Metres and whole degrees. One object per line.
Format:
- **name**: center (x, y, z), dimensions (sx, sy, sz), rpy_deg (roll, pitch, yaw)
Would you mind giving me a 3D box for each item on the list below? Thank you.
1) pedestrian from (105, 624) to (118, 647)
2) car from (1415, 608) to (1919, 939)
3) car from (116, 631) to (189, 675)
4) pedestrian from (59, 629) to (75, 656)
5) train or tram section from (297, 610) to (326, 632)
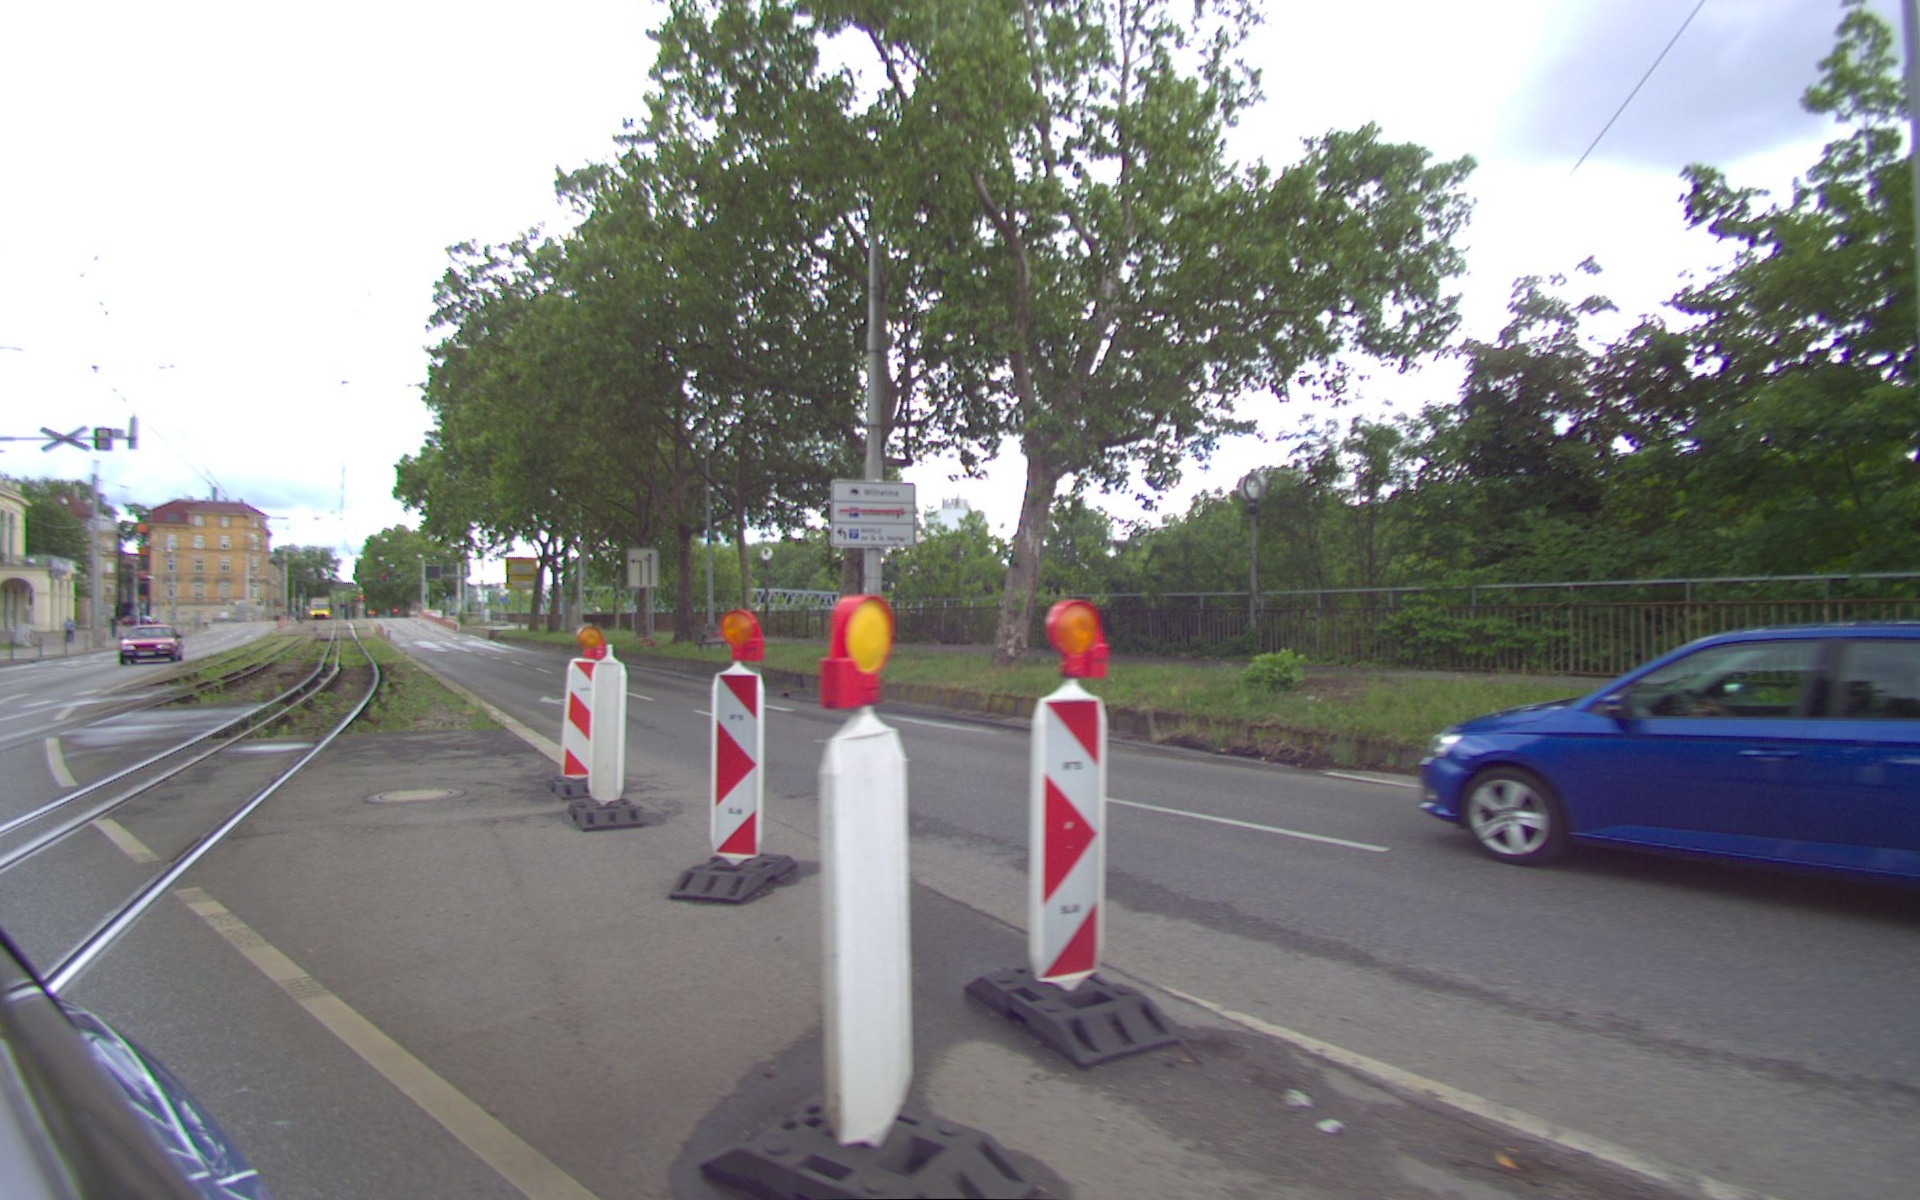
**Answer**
- **pedestrian**: center (-66.902, 2.768, 79.770), dimensions (0.661, 1.781, 0.939), rpy_deg (0, -1, -32)
- **car**: center (4.734, 0.804, 5.346), dimensions (1.672, 1.473, 3.922), rpy_deg (1, -3, -35)
- **car**: center (-30.456, 1.949, 38.262), dimensions (1.654, 1.453, 4.131), rpy_deg (-2, 0, -32)
- **pedestrian**: center (-60.446, 2.887, 68.517), dimensions (0.661, 1.781, 0.939), rpy_deg (0, -1, -32)
- **train or tram section**: center (-106.517, 3.338, 166.181), dimensions (3.679, 3.391, 17.606), rpy_deg (1, -1, -33)
